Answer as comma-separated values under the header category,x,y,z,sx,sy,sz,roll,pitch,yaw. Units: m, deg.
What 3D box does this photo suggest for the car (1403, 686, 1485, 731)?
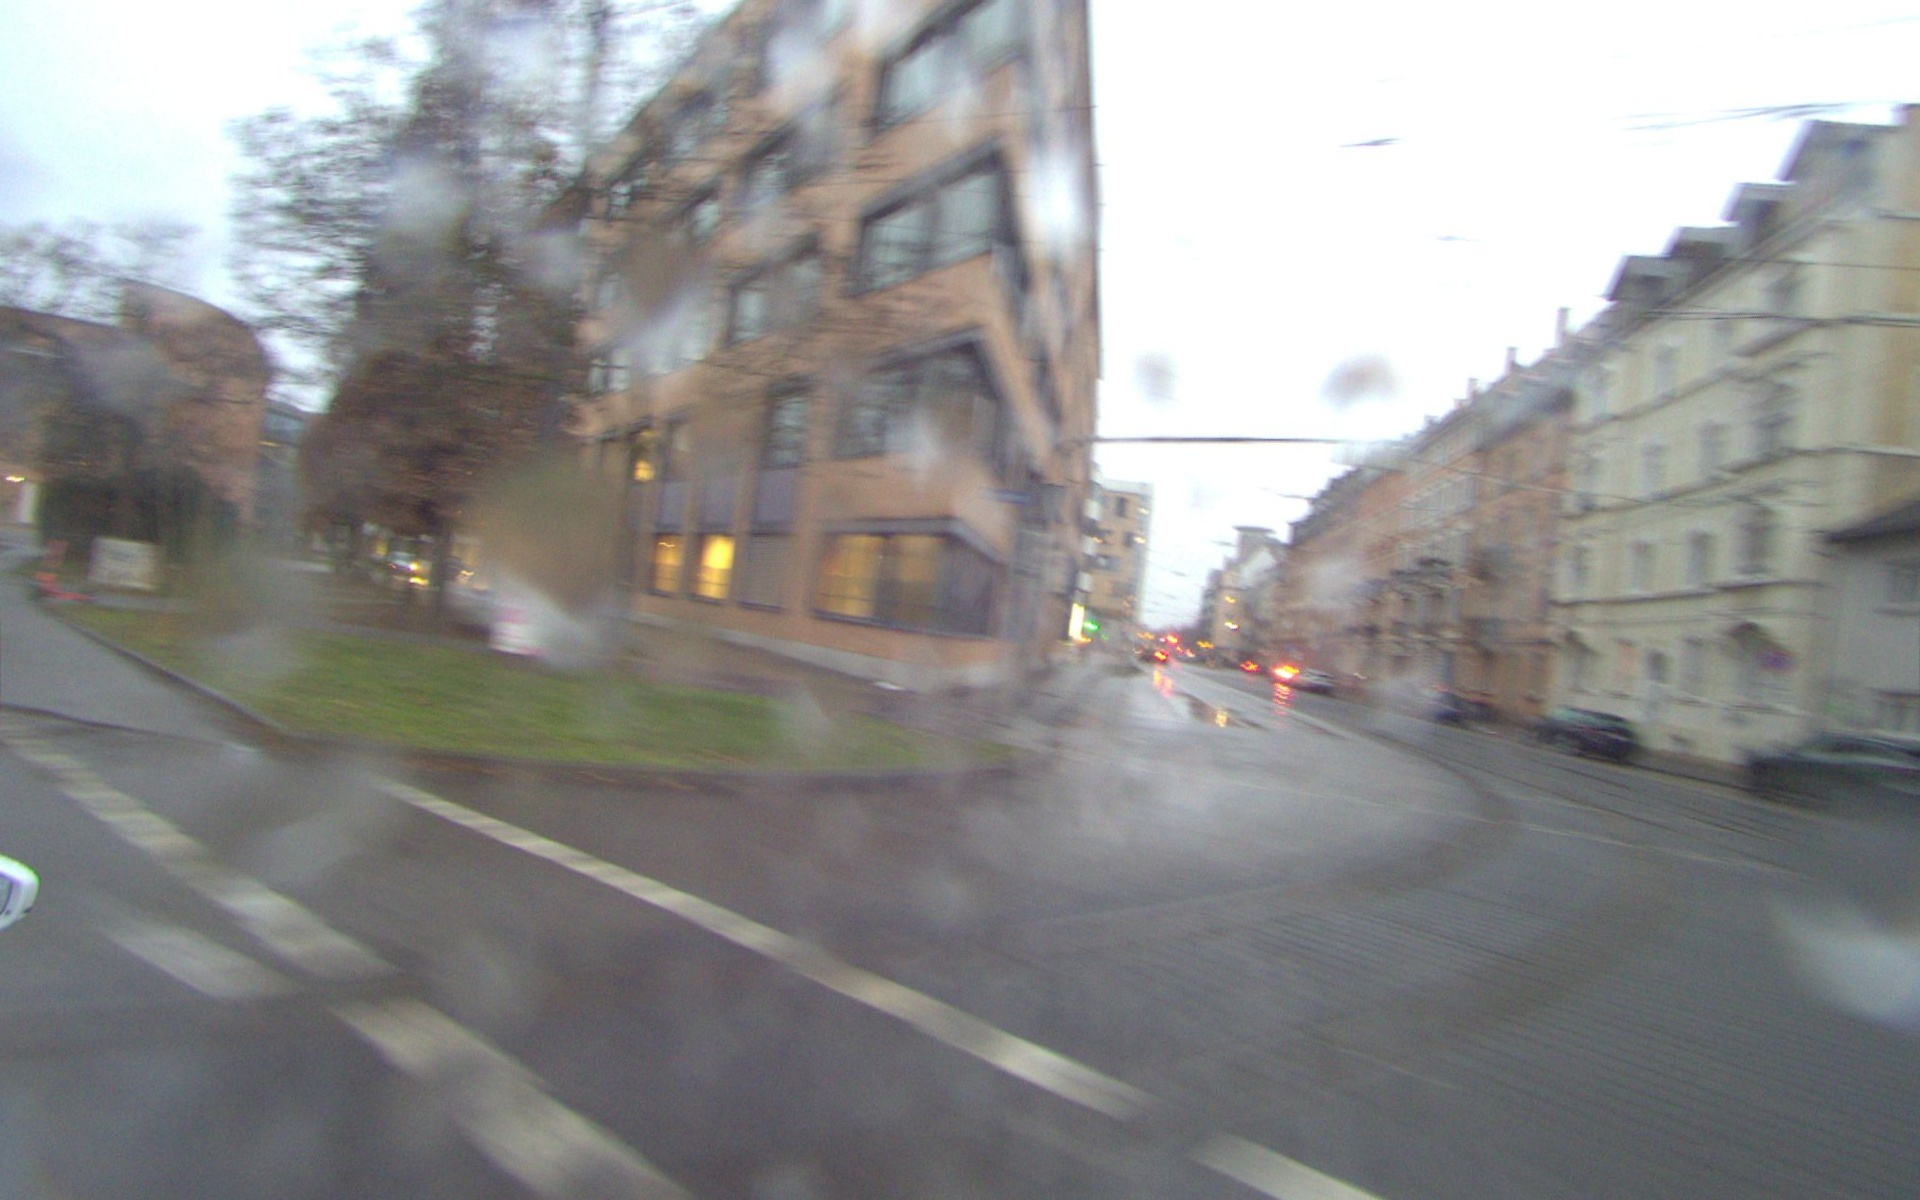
category,x,y,z,sx,sy,sz,roll,pitch,yaw
car,21.699,4.845,45.296,1.962,1.457,4.516,7,-1,9

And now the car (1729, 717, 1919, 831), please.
category,x,y,z,sx,sy,sz,roll,pitch,yaw
car,18.464,3.553,20.690,1.962,1.689,4.516,7,-1,6

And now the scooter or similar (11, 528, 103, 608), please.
category,x,y,z,sx,sy,sz,roll,pitch,yaw
scooter or similar,-15.250,-0.520,17.011,0.479,1.246,1.144,7,-1,-7

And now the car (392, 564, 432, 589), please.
category,x,y,z,sx,sy,sz,roll,pitch,yaw
car,-33.751,-1.453,61.959,1.658,1.195,3.672,8,-1,-36

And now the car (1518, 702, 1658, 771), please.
category,x,y,z,sx,sy,sz,roll,pitch,yaw
car,19.419,4.166,31.357,1.962,1.457,4.516,7,-1,9

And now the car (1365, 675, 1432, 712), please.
category,x,y,z,sx,sy,sz,roll,pitch,yaw
car,22.638,4.798,52.140,1.962,1.457,4.516,7,-1,9

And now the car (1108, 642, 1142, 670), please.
category,x,y,z,sx,sy,sz,roll,pitch,yaw
car,10.640,3.585,64.935,1.962,1.458,3.929,7,-1,9

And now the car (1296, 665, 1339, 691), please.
category,x,y,z,sx,sy,sz,roll,pitch,yaw
car,25.650,5.551,72.383,1.962,1.457,4.516,7,-1,9

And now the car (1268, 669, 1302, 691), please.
category,x,y,z,sx,sy,sz,roll,pitch,yaw
car,27.349,6.702,84.767,1.962,1.457,4.516,7,-1,9
